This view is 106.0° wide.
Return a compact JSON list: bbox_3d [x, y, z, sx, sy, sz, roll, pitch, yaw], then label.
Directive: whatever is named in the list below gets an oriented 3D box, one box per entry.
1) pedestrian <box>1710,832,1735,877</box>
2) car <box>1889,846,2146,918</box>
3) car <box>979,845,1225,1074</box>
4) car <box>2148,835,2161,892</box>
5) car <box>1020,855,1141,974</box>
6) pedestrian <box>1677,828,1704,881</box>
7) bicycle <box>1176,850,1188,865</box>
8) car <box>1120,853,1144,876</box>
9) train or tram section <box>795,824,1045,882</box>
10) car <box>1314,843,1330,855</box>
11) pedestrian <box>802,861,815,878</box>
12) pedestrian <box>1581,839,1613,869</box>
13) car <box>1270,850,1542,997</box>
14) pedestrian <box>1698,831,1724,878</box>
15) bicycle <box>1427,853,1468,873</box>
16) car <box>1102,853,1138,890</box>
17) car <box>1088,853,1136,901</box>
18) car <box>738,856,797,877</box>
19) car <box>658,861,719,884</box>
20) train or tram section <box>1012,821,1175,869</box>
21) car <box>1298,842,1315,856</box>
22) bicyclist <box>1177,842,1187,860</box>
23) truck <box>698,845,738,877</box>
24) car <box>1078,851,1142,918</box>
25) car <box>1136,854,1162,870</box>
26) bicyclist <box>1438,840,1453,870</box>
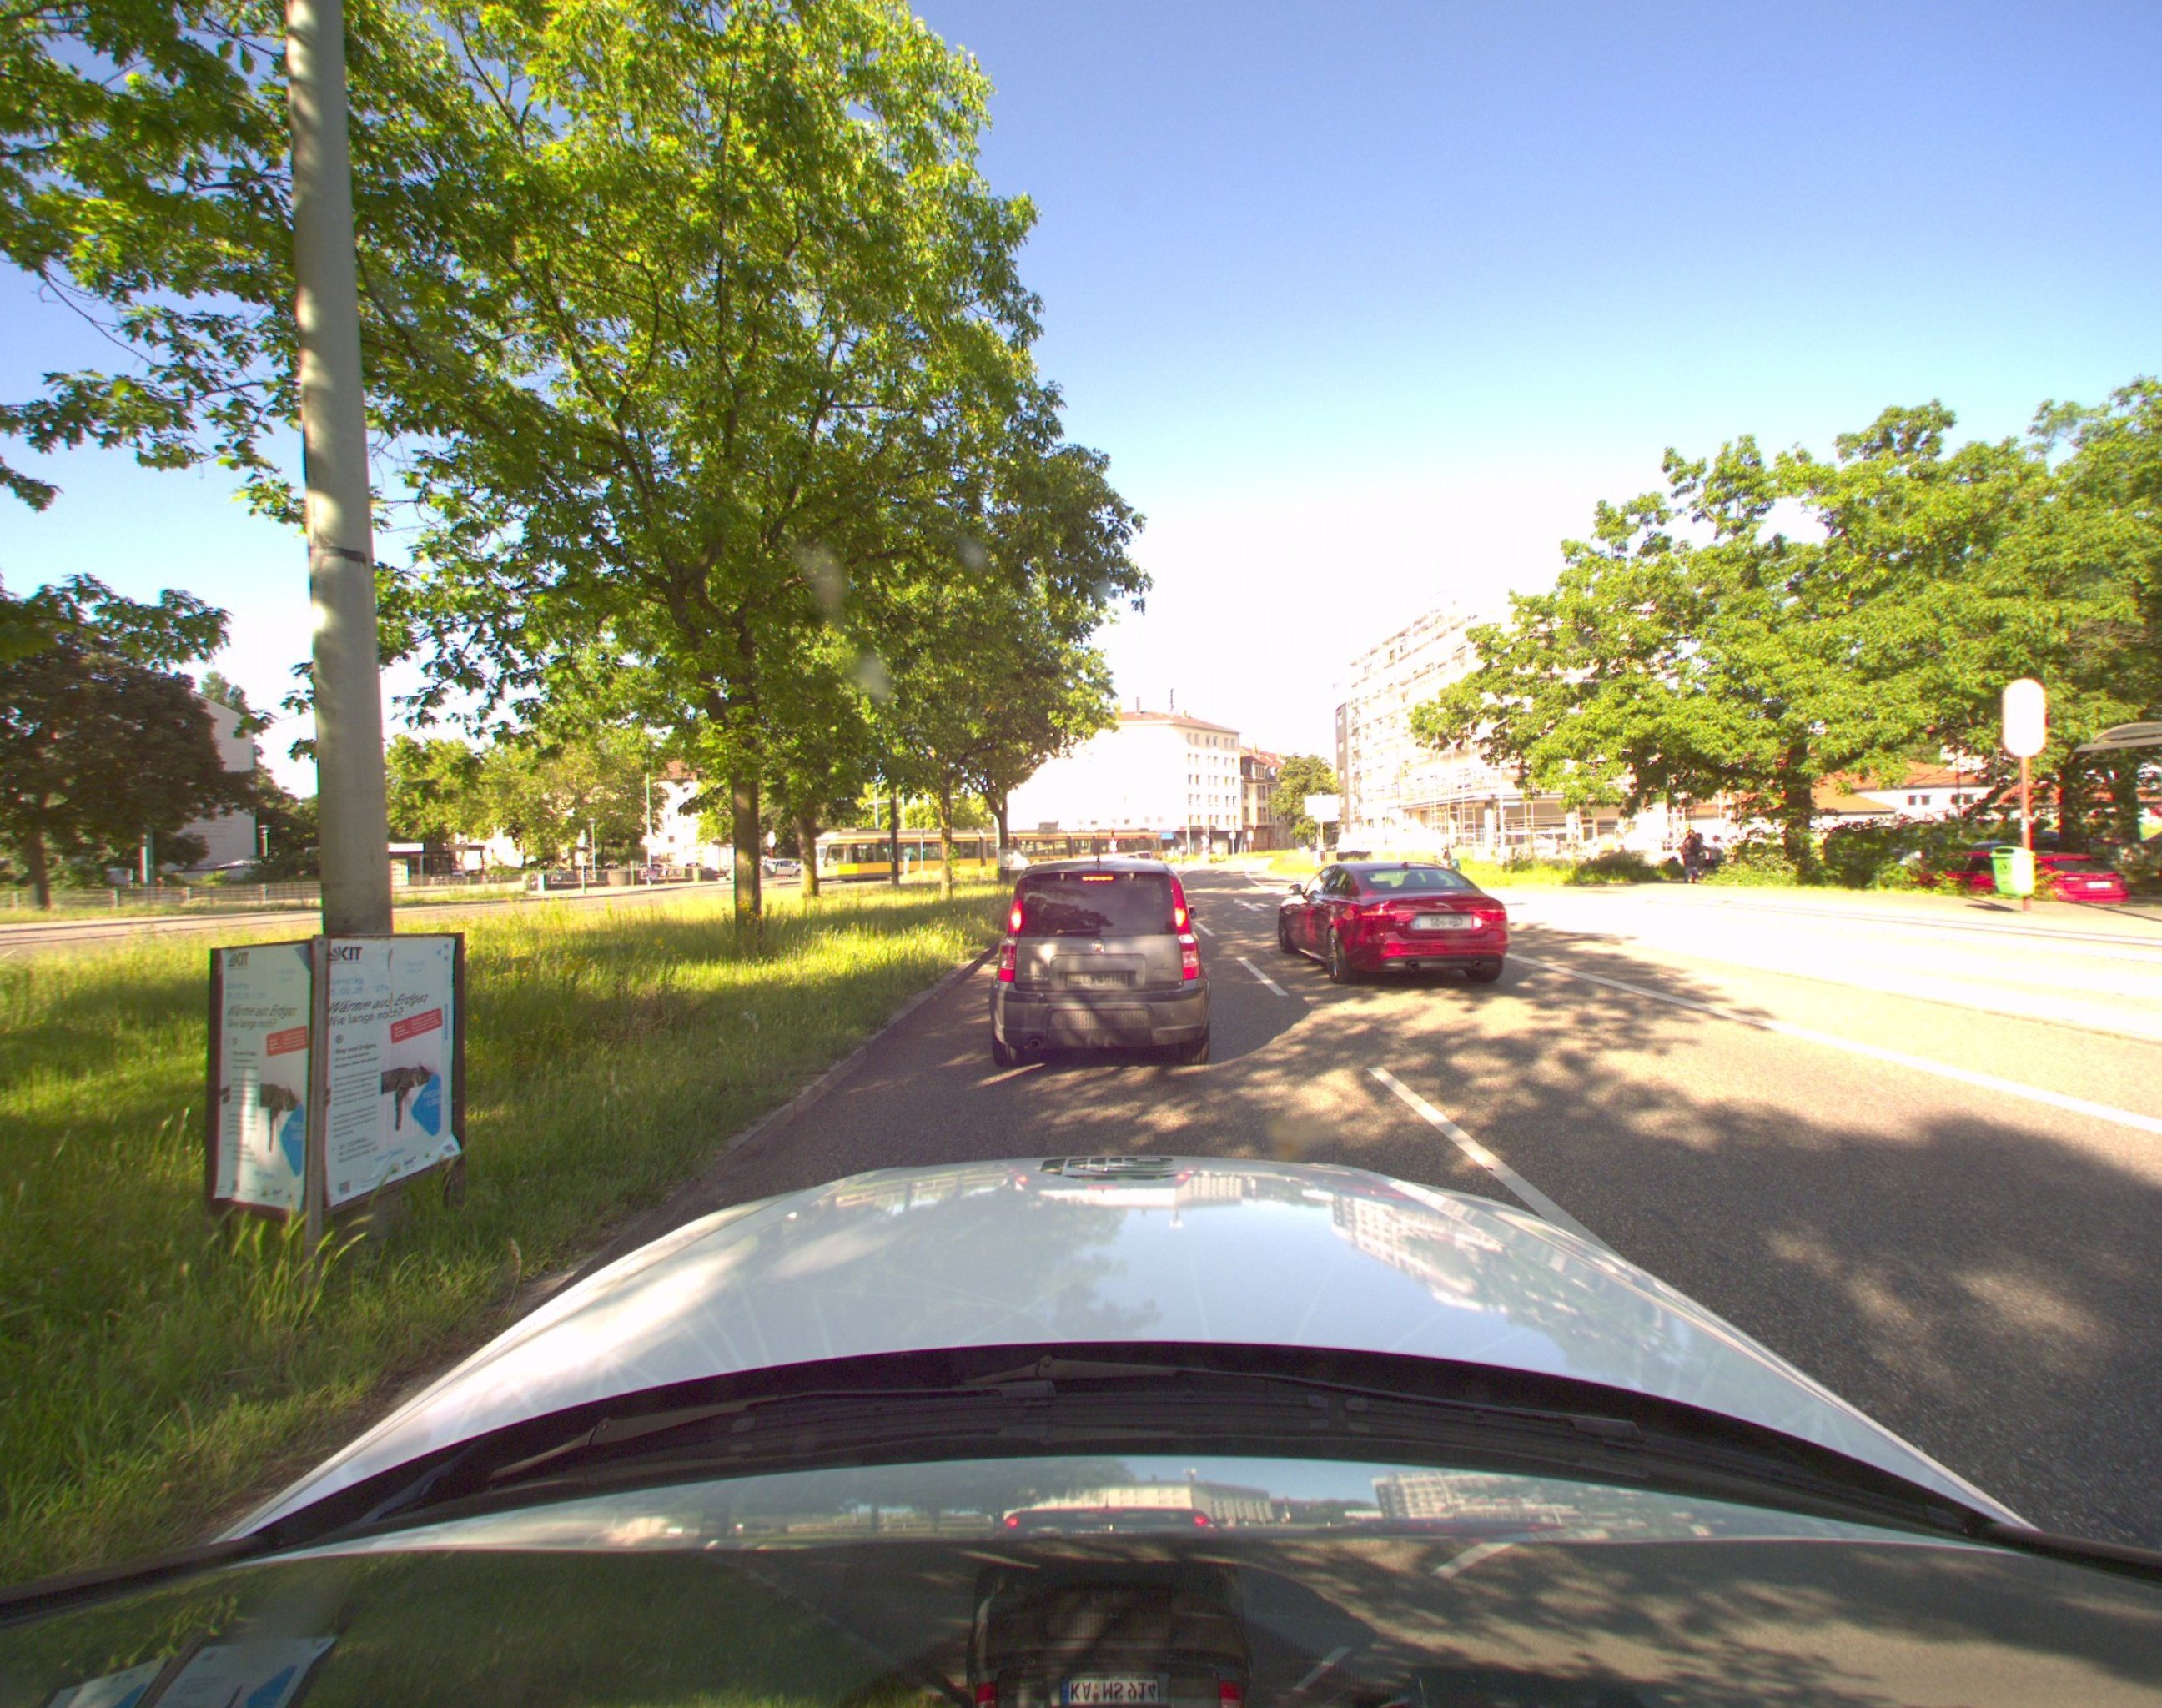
[{"bbox_3d":[20.926,0.014,26.565,0.516,1.447,0.595,-2,0,28],"label":"pedestrian"},{"bbox_3d":[21.988,0.598,19.373,1.747,1.486,3.743,-2,0,-2],"label":"car"},{"bbox_3d":[0.207,0.703,7.533,1.622,1.508,4.002,-2,0,2],"label":"car"},{"bbox_3d":[29.863,0.219,20.177,1.911,1.486,3.725,-2,0,-17],"label":"car"},{"bbox_3d":[0.051,0.748,11.761,1.458,1.401,3.395,-2,0,2],"label":"car"},{"bbox_3d":[18.542,0.014,24.783,0.516,1.612,0.595,-2,0,28],"label":"pedestrian"},{"bbox_3d":[8.086,0.272,65.162,0.706,1.198,2.520,0,-1,1],"label":"bicycle"},{"bbox_3d":[3.097,0.621,49.676,1.351,1.281,2.877,-2,0,2],"label":"car"},{"bbox_3d":[-10.520,-0.281,58.139,3.264,3.513,19.506,-2,0,41],"label":"train or tram section"},{"bbox_3d":[27.740,-0.534,93.557,1.514,1.314,3.304,-2,0,20],"label":"car"},{"bbox_3d":[-26.298,1.454,78.481,0.910,1.607,0.802,-2,0,41],"label":"pedestrian"},{"bbox_3d":[25.563,-0.020,40.351,0.893,1.447,0.962,-2,0,-13],"label":"pedestrian"},{"bbox_3d":[3.842,0.708,10.545,1.880,1.428,4.389,-1,1,2],"label":"car"},{"bbox_3d":[19.361,0.013,25.034,0.516,1.447,0.595,-2,0,28],"label":"pedestrian"},{"bbox_3d":[18.362,0.466,40.830,1.776,0.945,0.562,-2,0,16],"label":"bicycle"},{"bbox_3d":[1.603,0.693,33.965,1.351,1.449,3.267,-2,0,2],"label":"car"},{"bbox_3d":[1.031,0.728,27.396,1.458,1.424,3.383,-2,0,2],"label":"car"},{"bbox_3d":[-27.318,1.071,71.064,1.974,1.684,4.348,-2,0,40],"label":"car"},{"bbox_3d":[-32.068,1.478,66.606,1.974,1.684,4.025,-2,0,40],"label":"car"},{"bbox_3d":[1.893,-0.946,73.950,3.263,3.770,20.944,-2,0,36],"label":"train or tram section"},{"bbox_3d":[24.915,-0.537,89.995,1.669,1.449,3.588,-2,0,18],"label":"car"},{"bbox_3d":[8.072,-0.216,65.021,0.739,1.438,0.845,0,-1,1],"label":"bicyclist"},{"bbox_3d":[-33.075,0.634,74.200,2.012,2.805,3.951,-2,0,-44],"label":"truck"},{"bbox_3d":[0.727,0.698,20.792,1.458,1.508,3.506,-2,0,2],"label":"car"},{"bbox_3d":[4.866,0.576,57.714,1.133,1.064,2.735,-2,0,19],"label":"car"},{"bbox_3d":[18.297,0.030,40.846,0.579,1.493,0.553,-2,0,17],"label":"bicyclist"}]
